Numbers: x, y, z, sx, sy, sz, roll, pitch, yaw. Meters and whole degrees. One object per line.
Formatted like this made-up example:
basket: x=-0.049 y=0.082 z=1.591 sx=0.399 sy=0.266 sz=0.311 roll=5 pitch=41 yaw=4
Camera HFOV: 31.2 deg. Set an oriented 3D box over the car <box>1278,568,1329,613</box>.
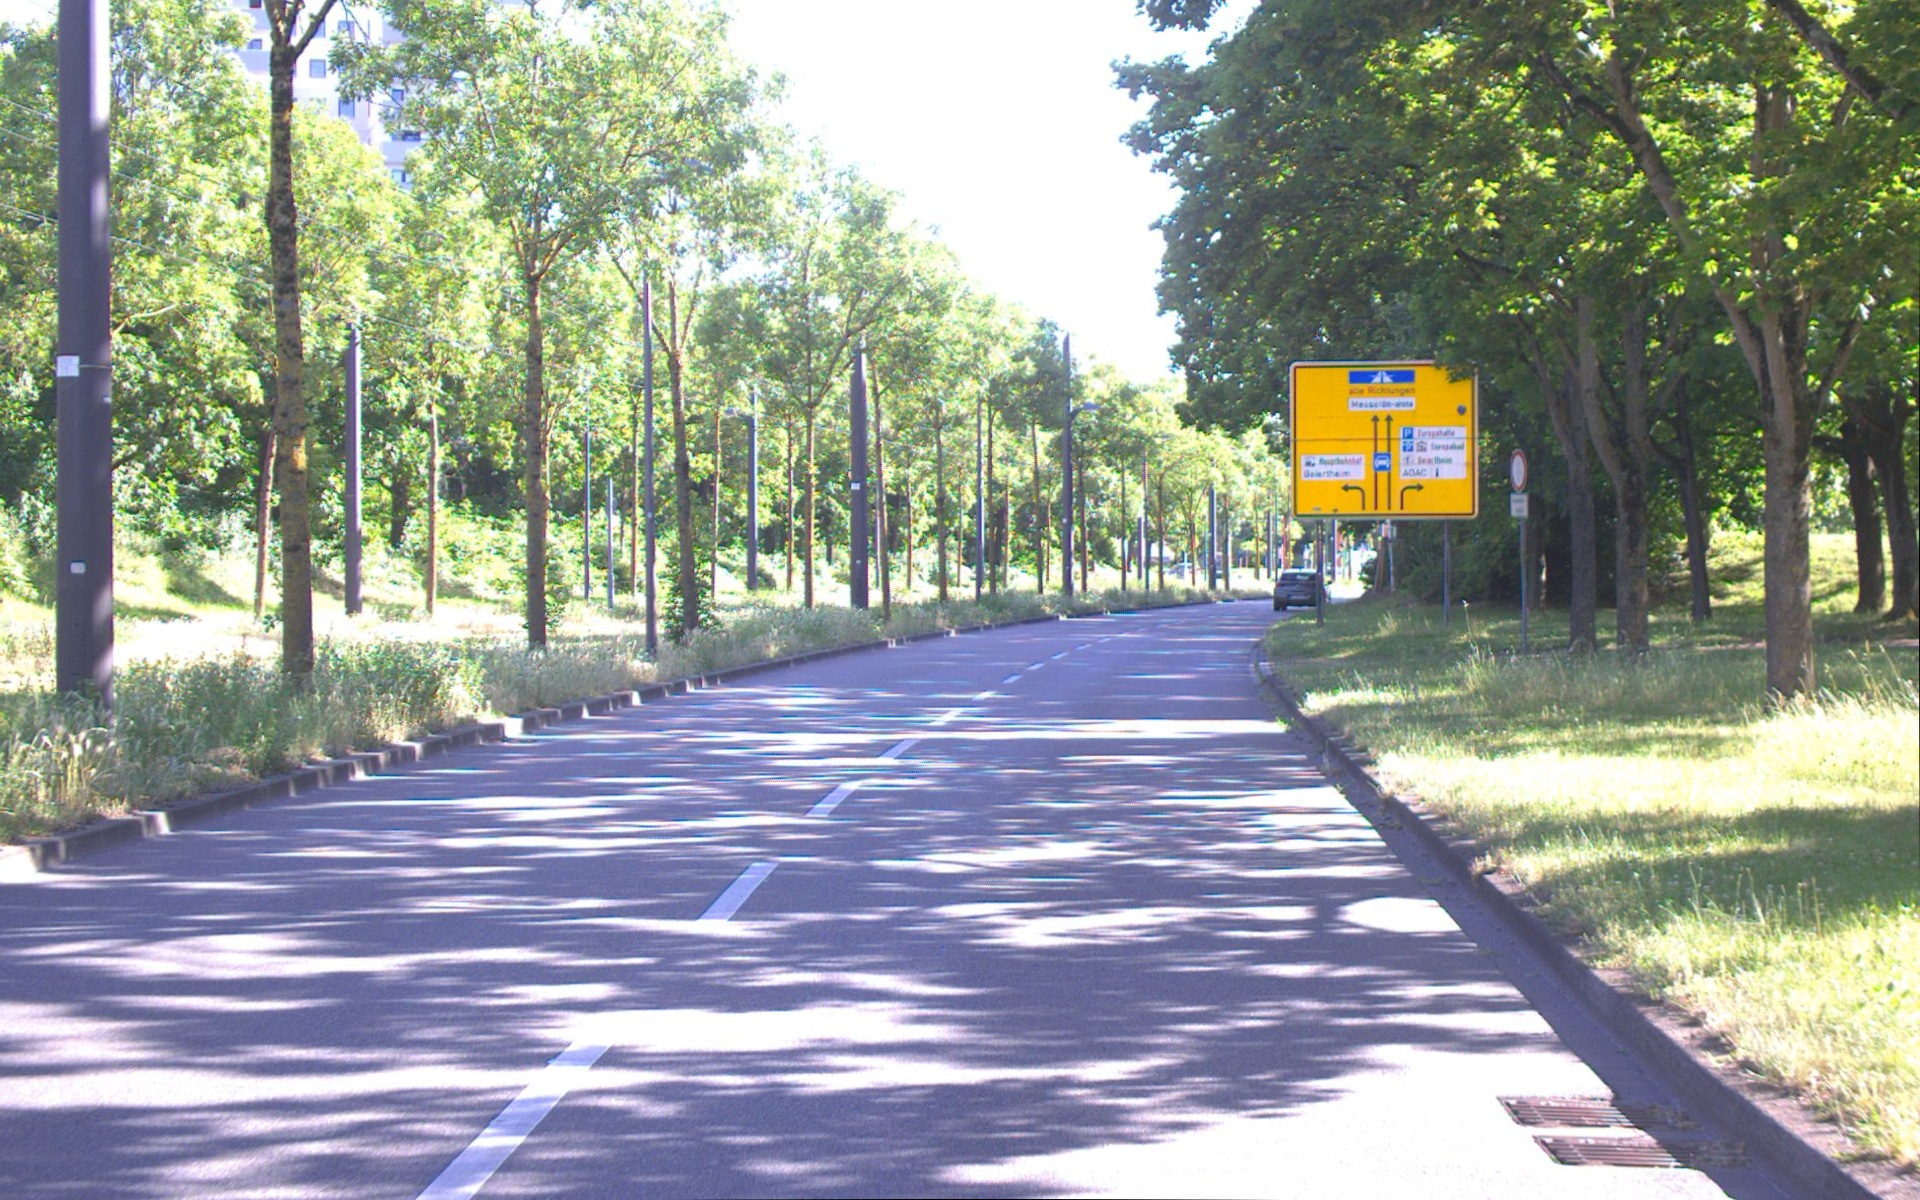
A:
car: x=12.053 y=-0.346 z=120.545 sx=1.634 sy=1.493 sz=4.233 roll=1 pitch=1 yaw=7
